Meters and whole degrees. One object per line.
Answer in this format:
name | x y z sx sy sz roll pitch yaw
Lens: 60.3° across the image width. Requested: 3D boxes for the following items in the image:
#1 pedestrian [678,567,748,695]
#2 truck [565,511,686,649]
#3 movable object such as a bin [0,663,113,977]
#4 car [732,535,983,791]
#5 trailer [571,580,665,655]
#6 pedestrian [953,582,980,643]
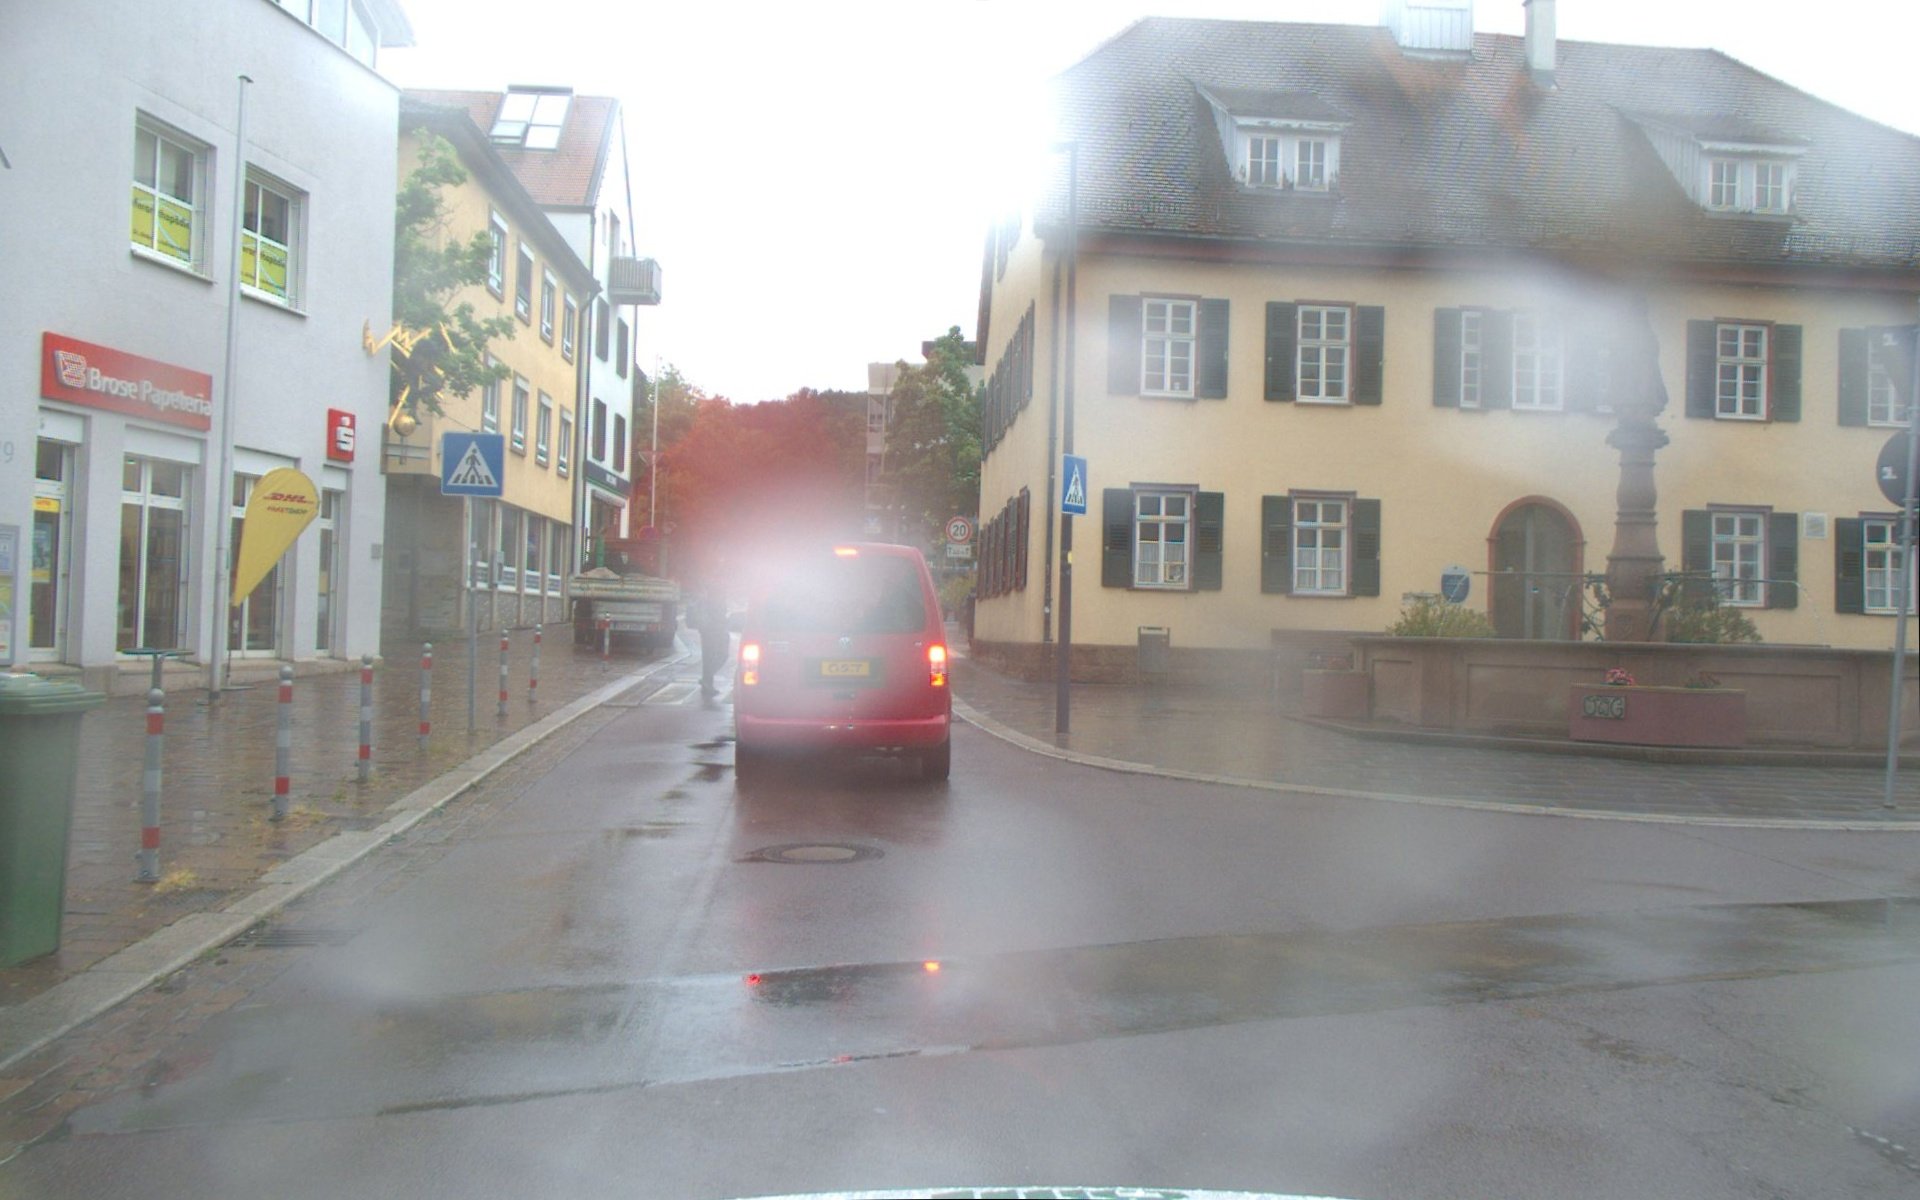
pedestrian | -3.401 0.421 22.809 0.848 1.722 0.716 1 0 -3
truck | -7.561 -0.492 37.956 2.428 2.843 6.586 1 1 -9
movable object such as a bin | -3.719 0.809 6.310 0.645 1.115 0.613 1 0 -2
car | -1.027 0.459 14.251 1.827 1.862 4.177 0 0 -8
trailer | -6.801 0.328 33.157 1.696 1.370 3.154 1 1 -9
pedestrian | 0.178 0.353 45.249 0.713 1.645 0.693 1 0 -2
